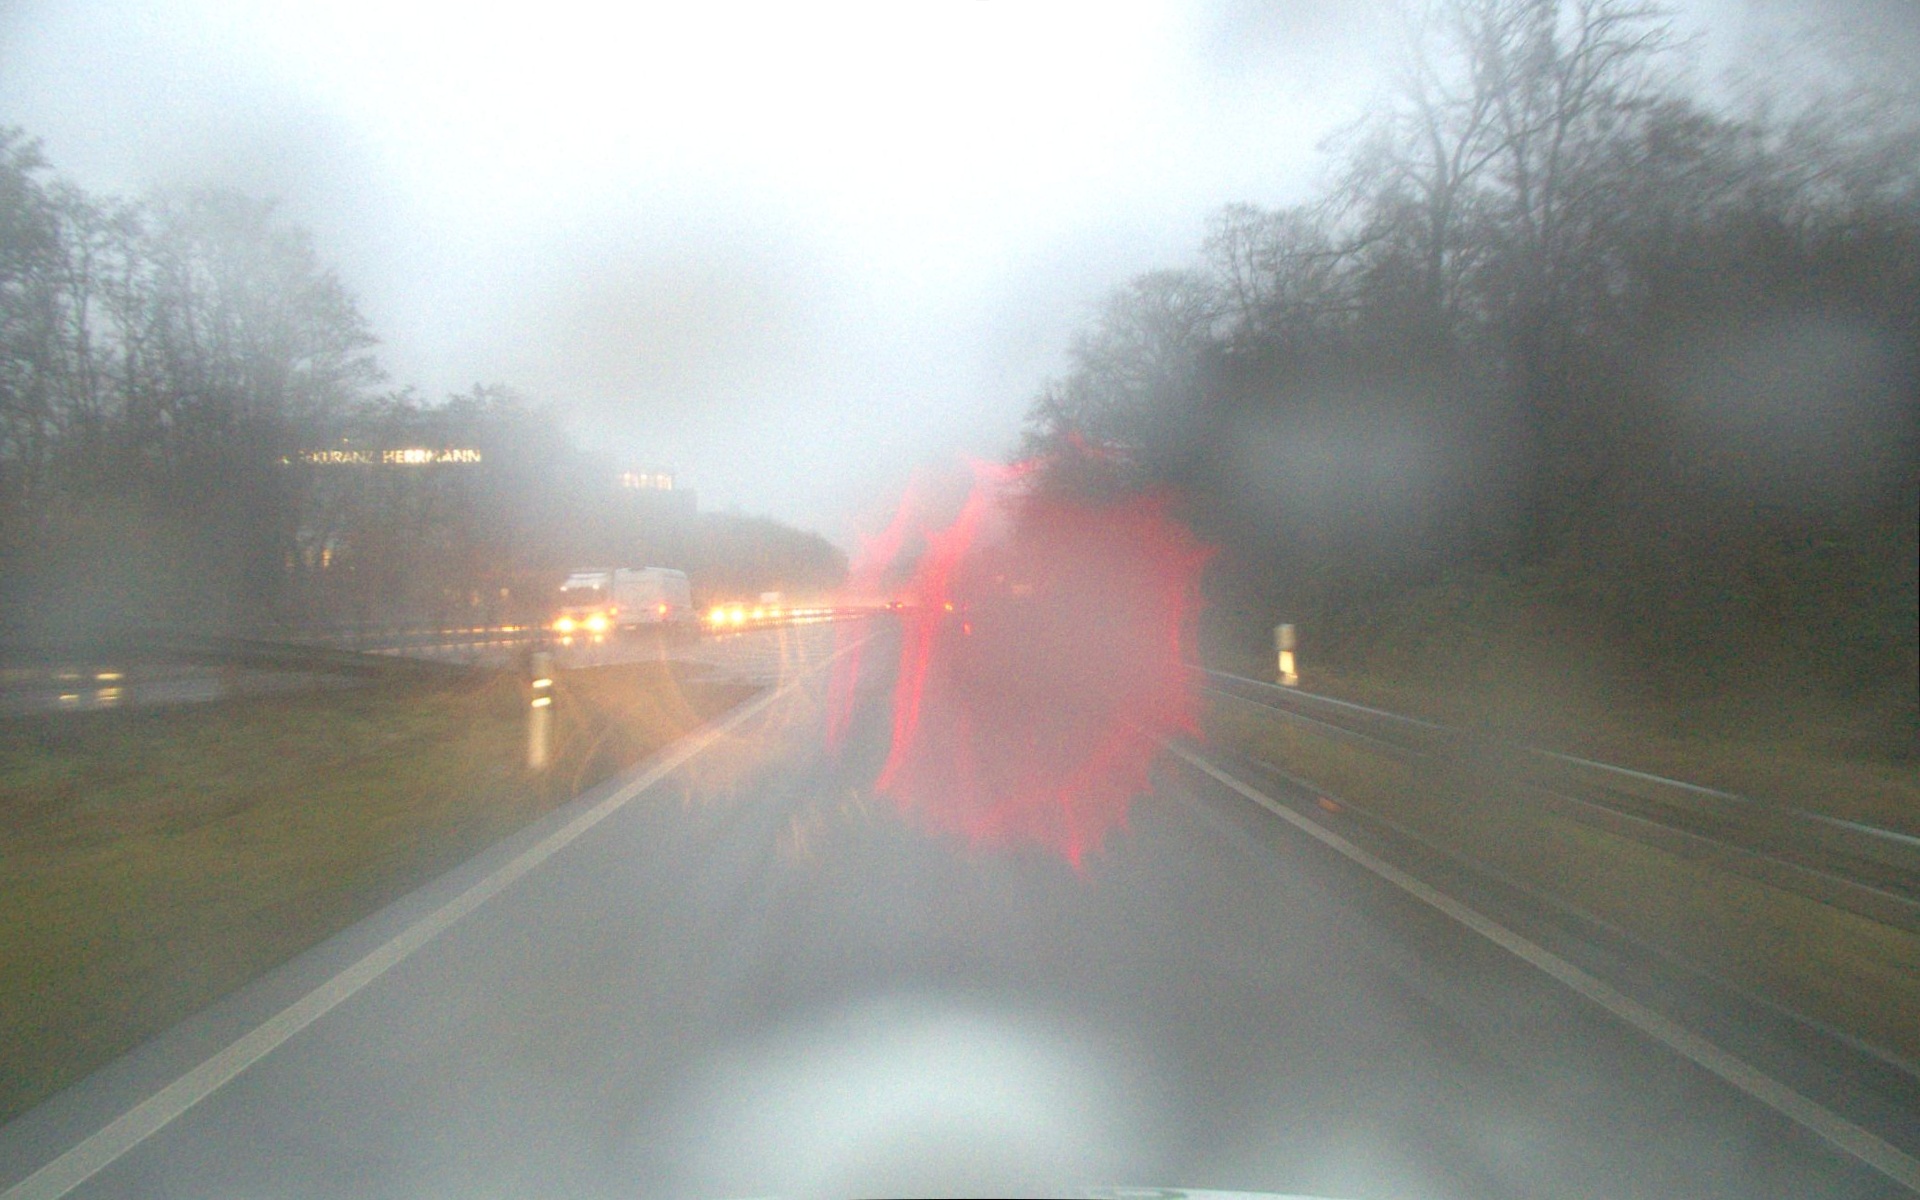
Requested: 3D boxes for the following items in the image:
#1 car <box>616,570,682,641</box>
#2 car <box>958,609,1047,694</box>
[{"bbox_3d":[-11.344,0.199,60.498,1.961,2.496,3.995,1,0,-5],"label":"car"},{"bbox_3d":[0.734,0.888,30.177,1.496,1.440,3.478,1,0,0],"label":"car"}]
